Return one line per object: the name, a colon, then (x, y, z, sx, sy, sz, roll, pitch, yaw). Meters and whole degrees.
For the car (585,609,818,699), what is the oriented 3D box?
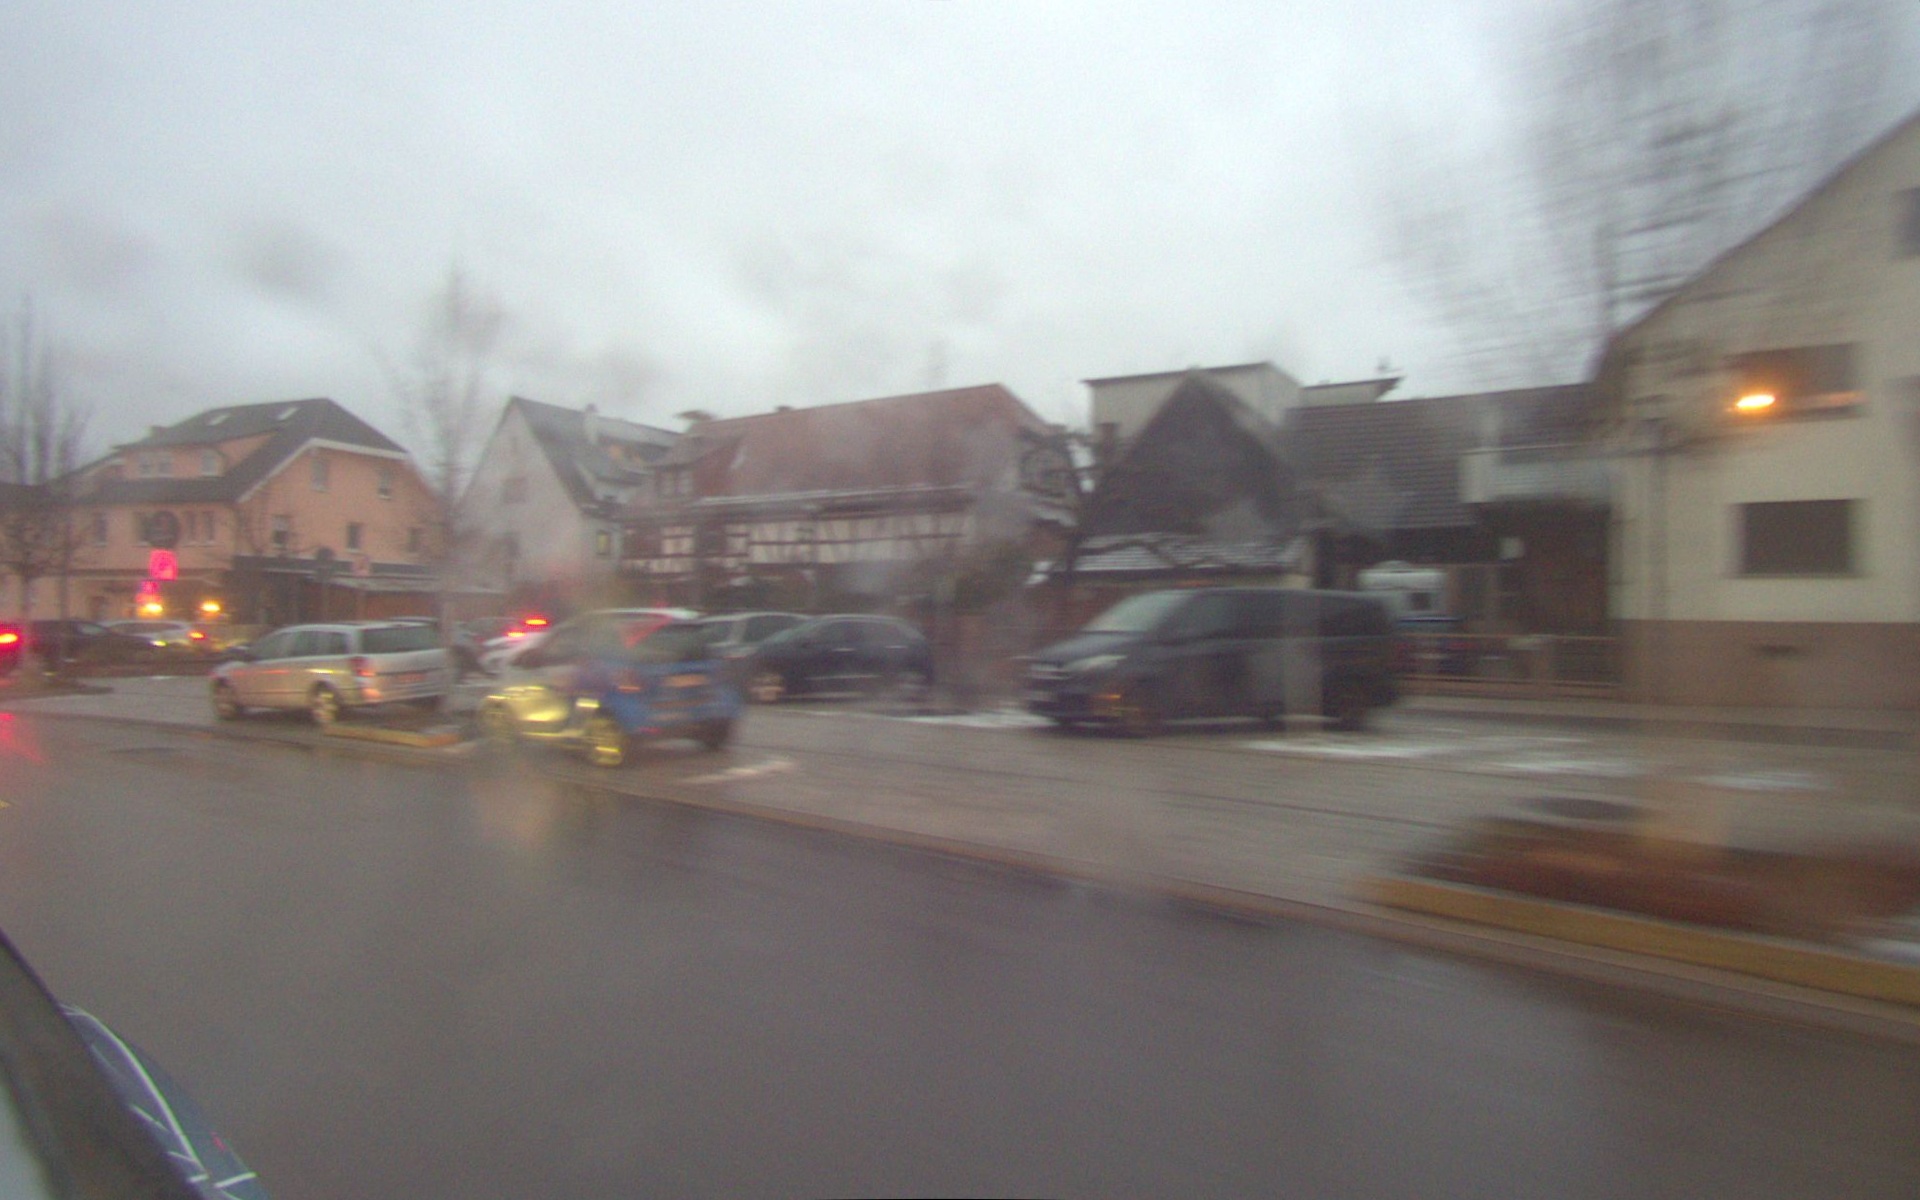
car: (-5.004, 1.037, 19.708, 4.043, 1.594, 1.726, 2, -3, -29)

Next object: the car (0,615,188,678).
car: (-25.025, 1.263, 28.760, 2.141, 1.645, 4.416, 0, -2, 22)

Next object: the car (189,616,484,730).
car: (-9.588, 1.050, 15.553, 4.232, 1.545, 1.894, -1, -2, 25)

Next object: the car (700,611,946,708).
car: (-2.468, 1.000, 18.149, 3.930, 1.542, 2.006, 0, -2, -25)

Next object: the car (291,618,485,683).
car: (-14.018, 1.193, 24.862, 4.006, 1.470, 1.762, 1, -2, -34)

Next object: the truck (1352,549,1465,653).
truck: (14.293, 0.052, 32.042, 2.773, 2.974, 5.802, -1, -1, 29)

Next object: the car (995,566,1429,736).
car: (3.313, 0.675, 13.264, 5.304, 1.900, 2.080, 2, -3, -23)

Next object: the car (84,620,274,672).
car: (-26.560, 1.626, 34.622, 1.992, 1.648, 4.719, -3, -4, 30)

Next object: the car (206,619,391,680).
car: (-17.038, 1.283, 26.216, 3.867, 1.470, 1.767, 1, -3, -33)

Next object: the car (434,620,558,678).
car: (-14.830, 1.519, 32.309, 3.986, 1.741, 1.702, -1, -1, 32)

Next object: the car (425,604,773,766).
car: (-4.100, 0.850, 11.395, 3.663, 1.547, 1.820, -1, -1, 32)

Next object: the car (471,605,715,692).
car: (-7.733, 0.990, 21.426, 4.576, 1.666, 1.994, 1, -2, -30)
